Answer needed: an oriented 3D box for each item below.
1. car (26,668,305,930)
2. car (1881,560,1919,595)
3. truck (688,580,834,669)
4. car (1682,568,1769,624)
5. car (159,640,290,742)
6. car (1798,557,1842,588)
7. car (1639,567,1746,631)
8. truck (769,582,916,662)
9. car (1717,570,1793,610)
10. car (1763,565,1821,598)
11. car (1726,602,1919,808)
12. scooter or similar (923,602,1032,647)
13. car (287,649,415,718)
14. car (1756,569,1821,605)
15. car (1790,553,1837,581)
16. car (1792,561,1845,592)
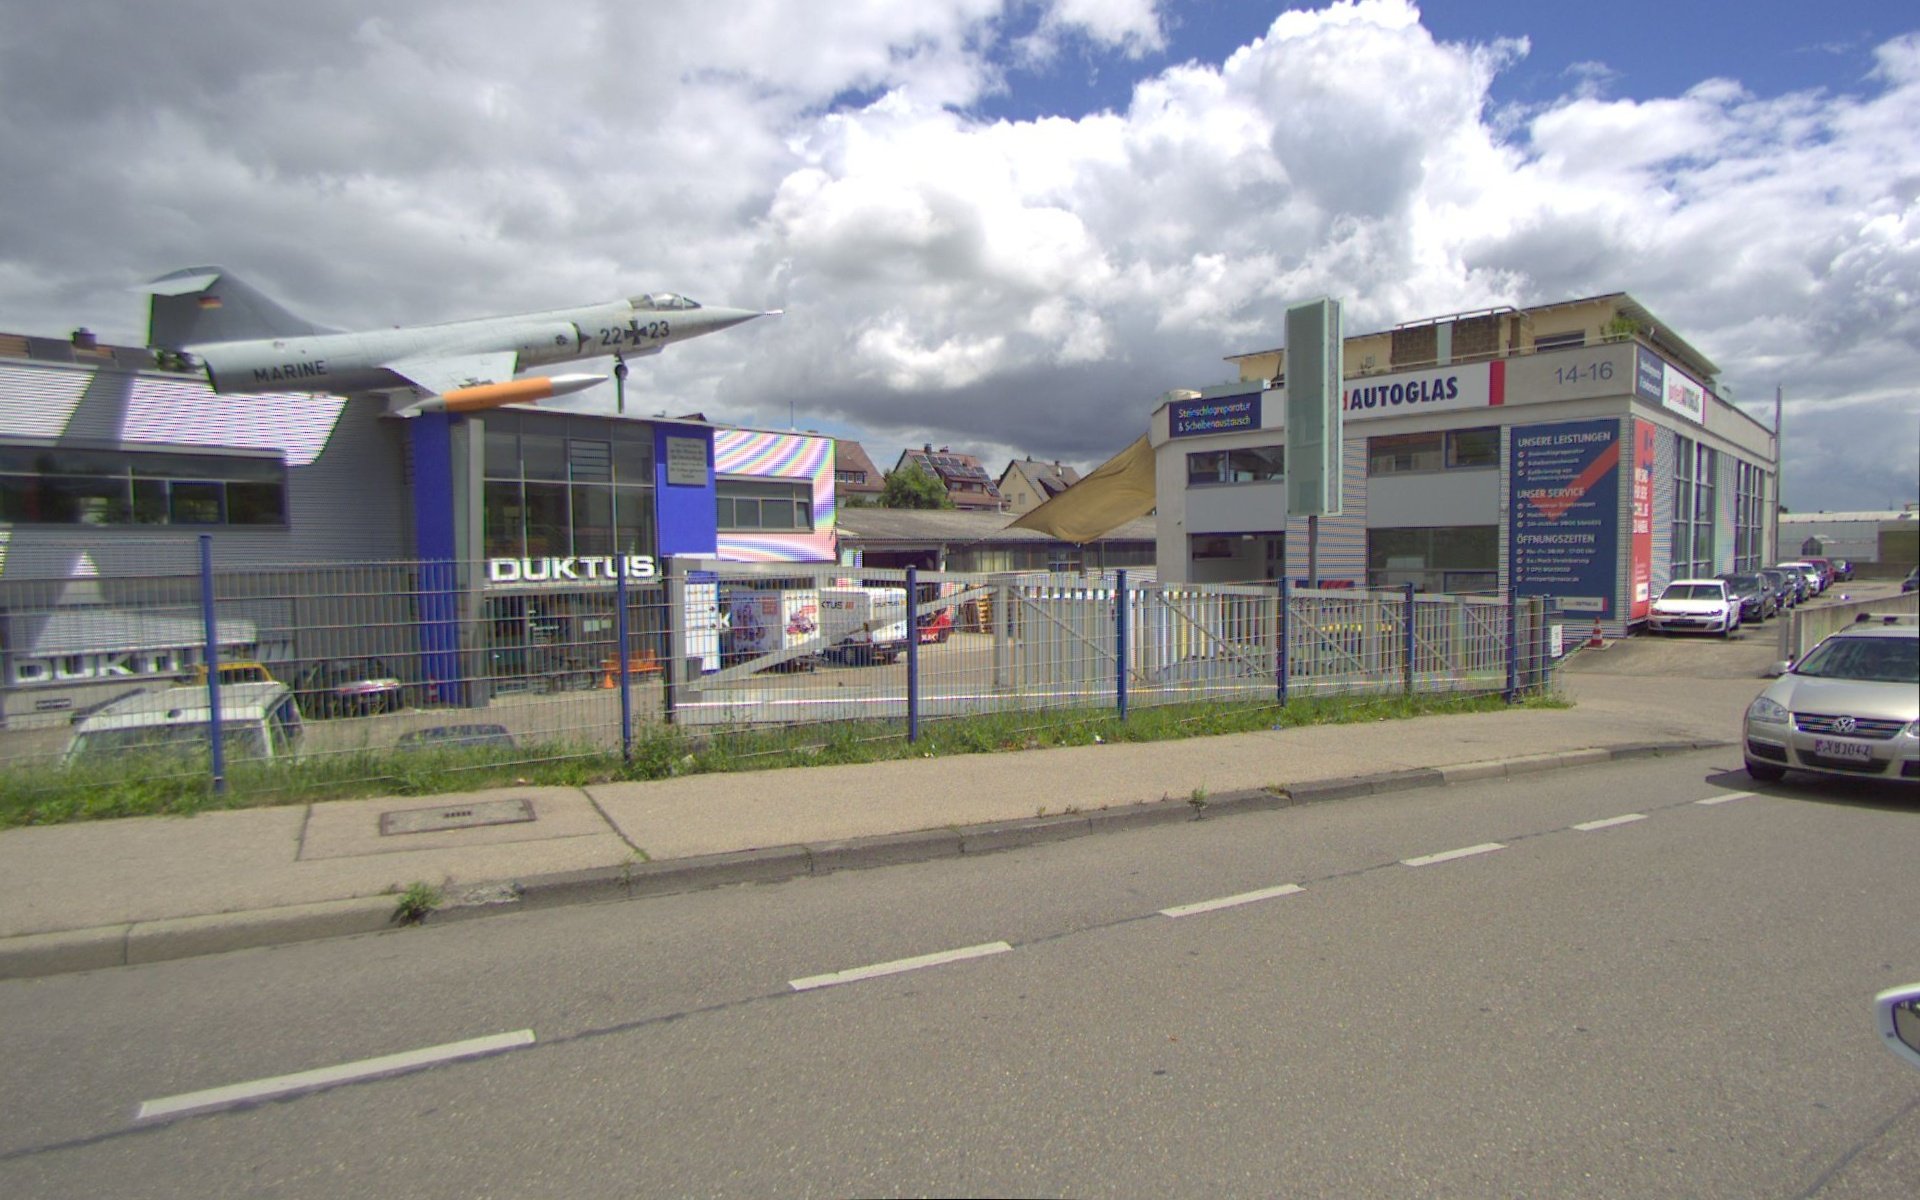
[{"bbox_3d":[-8.456,1.906,11.080,1.978,2.040,3.964,1,-1,-33],"label":"car"},{"bbox_3d":[39.086,-0.951,41.166,3.689,1.341,1.655,-3,3,-42],"label":"car"},{"bbox_3d":[-6.817,0.781,33.909,2.162,2.742,5.727,1,-1,-43],"label":"truck"},{"bbox_3d":[24.189,-0.090,31.713,3.693,1.651,1.679,1,-1,-44],"label":"car"},{"bbox_3d":[-16.998,1.996,23.153,1.864,1.551,3.947,-6,8,-43],"label":"car"},{"bbox_3d":[52.912,-1.674,61.769,3.493,1.753,1.685,0,4,-45],"label":"car"},{"bbox_3d":[20.597,0.007,28.190,3.973,1.672,1.829,1,-1,-44],"label":"car"},{"bbox_3d":[-4.232,0.735,35.271,2.191,2.609,5.727,1,-1,-43],"label":"truck"},{"bbox_3d":[28.664,-0.329,36.171,3.693,1.341,1.704,1,-1,-44],"label":"car"},{"bbox_3d":[37.628,-0.807,45.403,3.693,1.341,1.653,1,-1,-44],"label":"car"},{"bbox_3d":[8.979,0.848,9.372,4.284,1.583,1.691,1,0,-35],"label":"car"},{"bbox_3d":[0.658,0.953,39.700,3.938,1.684,1.992,0,-1,39],"label":"scooter or similar"},{"bbox_3d":[-15.109,1.993,24.835,1.865,1.316,3.948,-3,2,-44],"label":"car"},{"bbox_3d":[33.180,-0.487,40.204,3.693,1.341,1.653,1,-1,-44],"label":"car"},{"bbox_3d":[47.480,-1.810,55.869,3.693,1.341,1.653,1,-1,-44],"label":"car"},{"bbox_3d":[41.502,-1.101,48.555,3.693,1.341,1.653,1,-1,-44],"label":"car"}]
